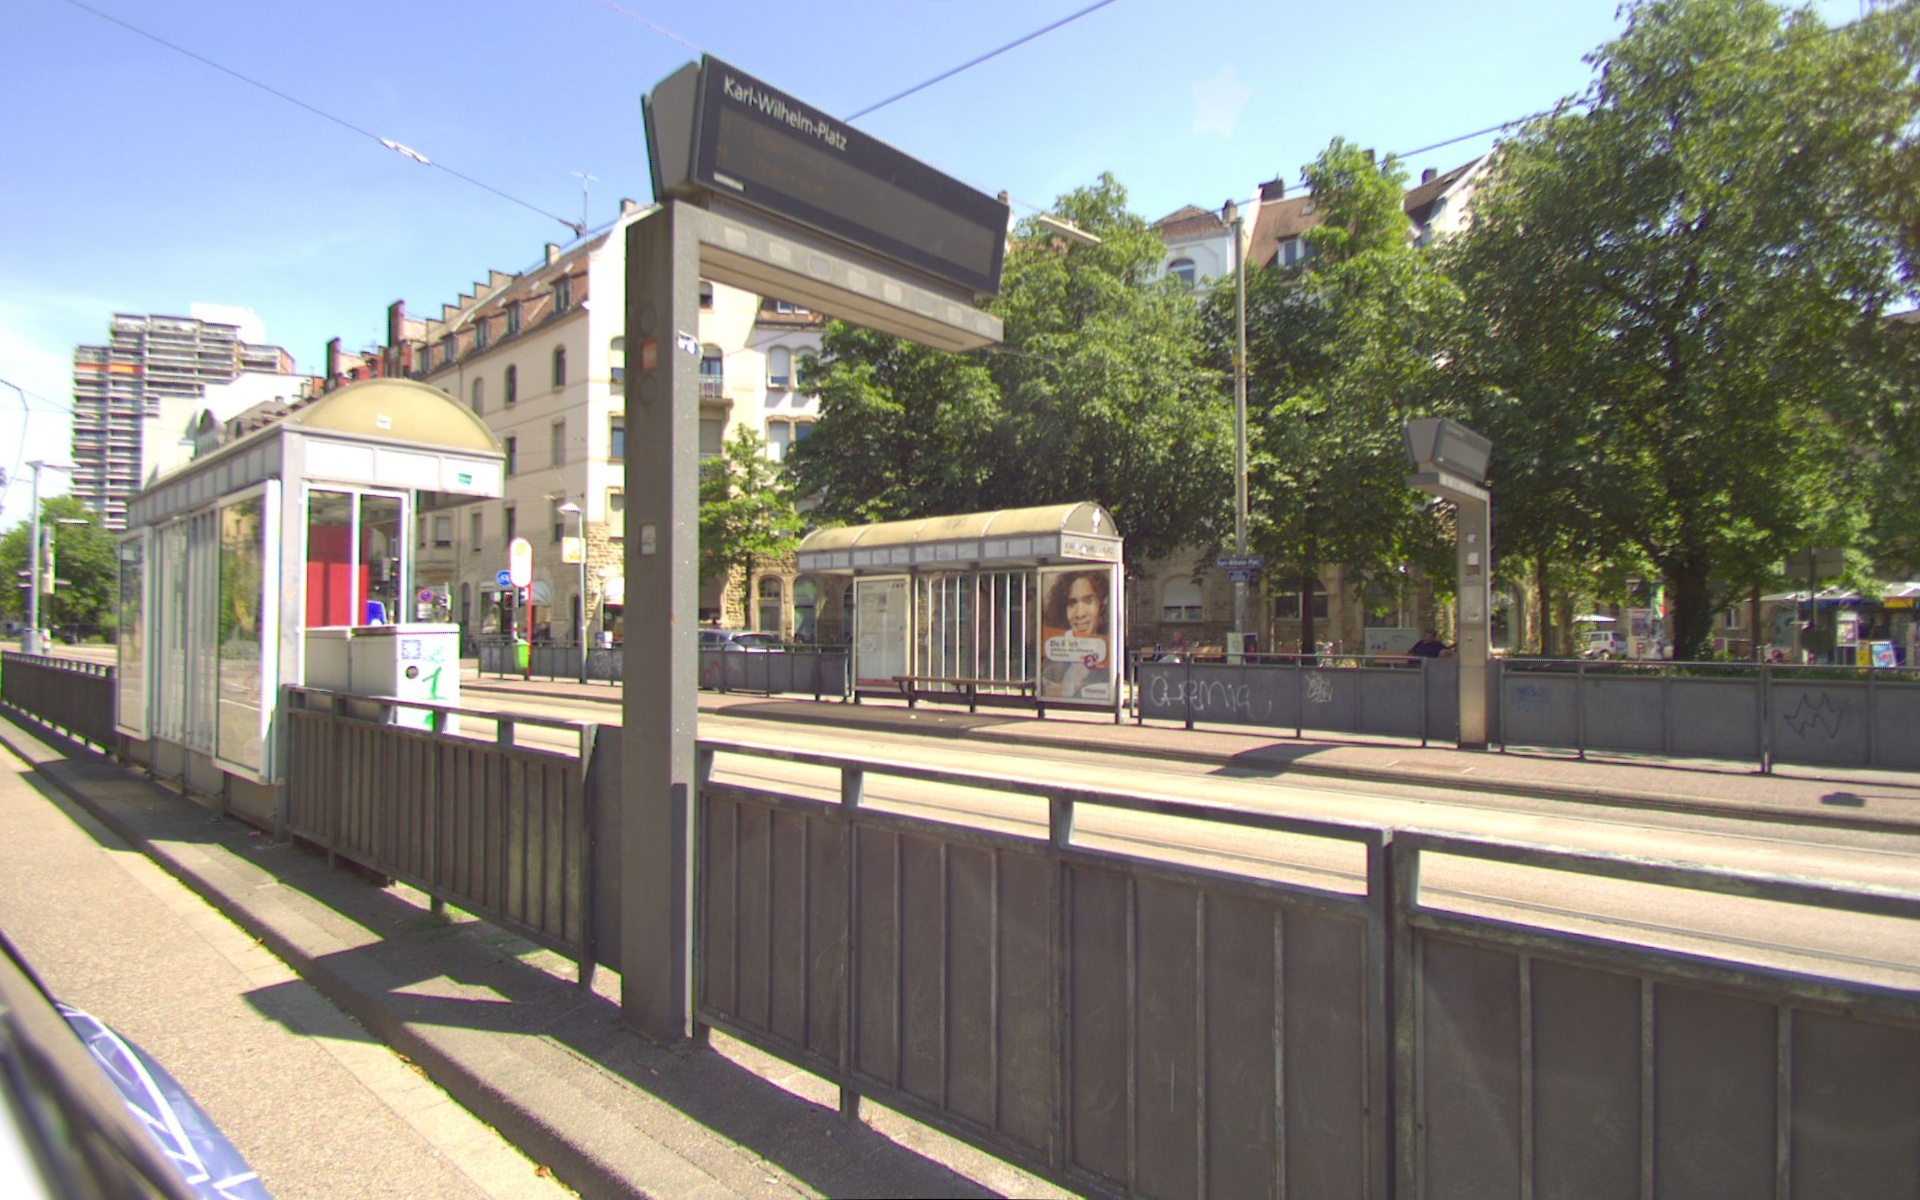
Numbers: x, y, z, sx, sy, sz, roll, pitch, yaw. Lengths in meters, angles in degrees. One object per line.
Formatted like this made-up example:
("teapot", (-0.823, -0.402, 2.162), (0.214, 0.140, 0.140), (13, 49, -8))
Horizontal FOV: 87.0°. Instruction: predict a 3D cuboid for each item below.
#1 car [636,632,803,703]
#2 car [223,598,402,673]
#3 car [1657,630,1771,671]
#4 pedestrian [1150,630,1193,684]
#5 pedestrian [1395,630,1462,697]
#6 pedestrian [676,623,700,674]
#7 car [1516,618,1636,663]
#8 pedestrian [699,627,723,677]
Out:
("car", (-5.604, 1.490, 23.361), (3.998, 1.404, 1.789), (-1, 0, 41))
("car", (-24.192, 1.307, 37.857), (5.769, 2.693, 2.265), (-1, 0, 13))
("car", (35.781, 2.350, 48.104), (1.736, 1.721, 3.998), (-1, 0, -33))
("pedestrian", (5.088, 1.357, 24.316), (0.930, 1.253, 0.860), (-1, 0, 17))
("pedestrian", (9.277, 1.241, 20.041), (0.852, 1.253, 0.939), (-1, 0, -43))
("pedestrian", (-8.876, 1.573, 33.051), (0.473, 1.659, 0.586), (-2, -3, 41))
("car", (26.712, 1.706, 44.011), (1.966, 1.803, 4.011), (-1, 0, -33))
("pedestrian", (-7.989, 1.660, 32.494), (0.473, 1.563, 0.586), (-2, -3, 39))
